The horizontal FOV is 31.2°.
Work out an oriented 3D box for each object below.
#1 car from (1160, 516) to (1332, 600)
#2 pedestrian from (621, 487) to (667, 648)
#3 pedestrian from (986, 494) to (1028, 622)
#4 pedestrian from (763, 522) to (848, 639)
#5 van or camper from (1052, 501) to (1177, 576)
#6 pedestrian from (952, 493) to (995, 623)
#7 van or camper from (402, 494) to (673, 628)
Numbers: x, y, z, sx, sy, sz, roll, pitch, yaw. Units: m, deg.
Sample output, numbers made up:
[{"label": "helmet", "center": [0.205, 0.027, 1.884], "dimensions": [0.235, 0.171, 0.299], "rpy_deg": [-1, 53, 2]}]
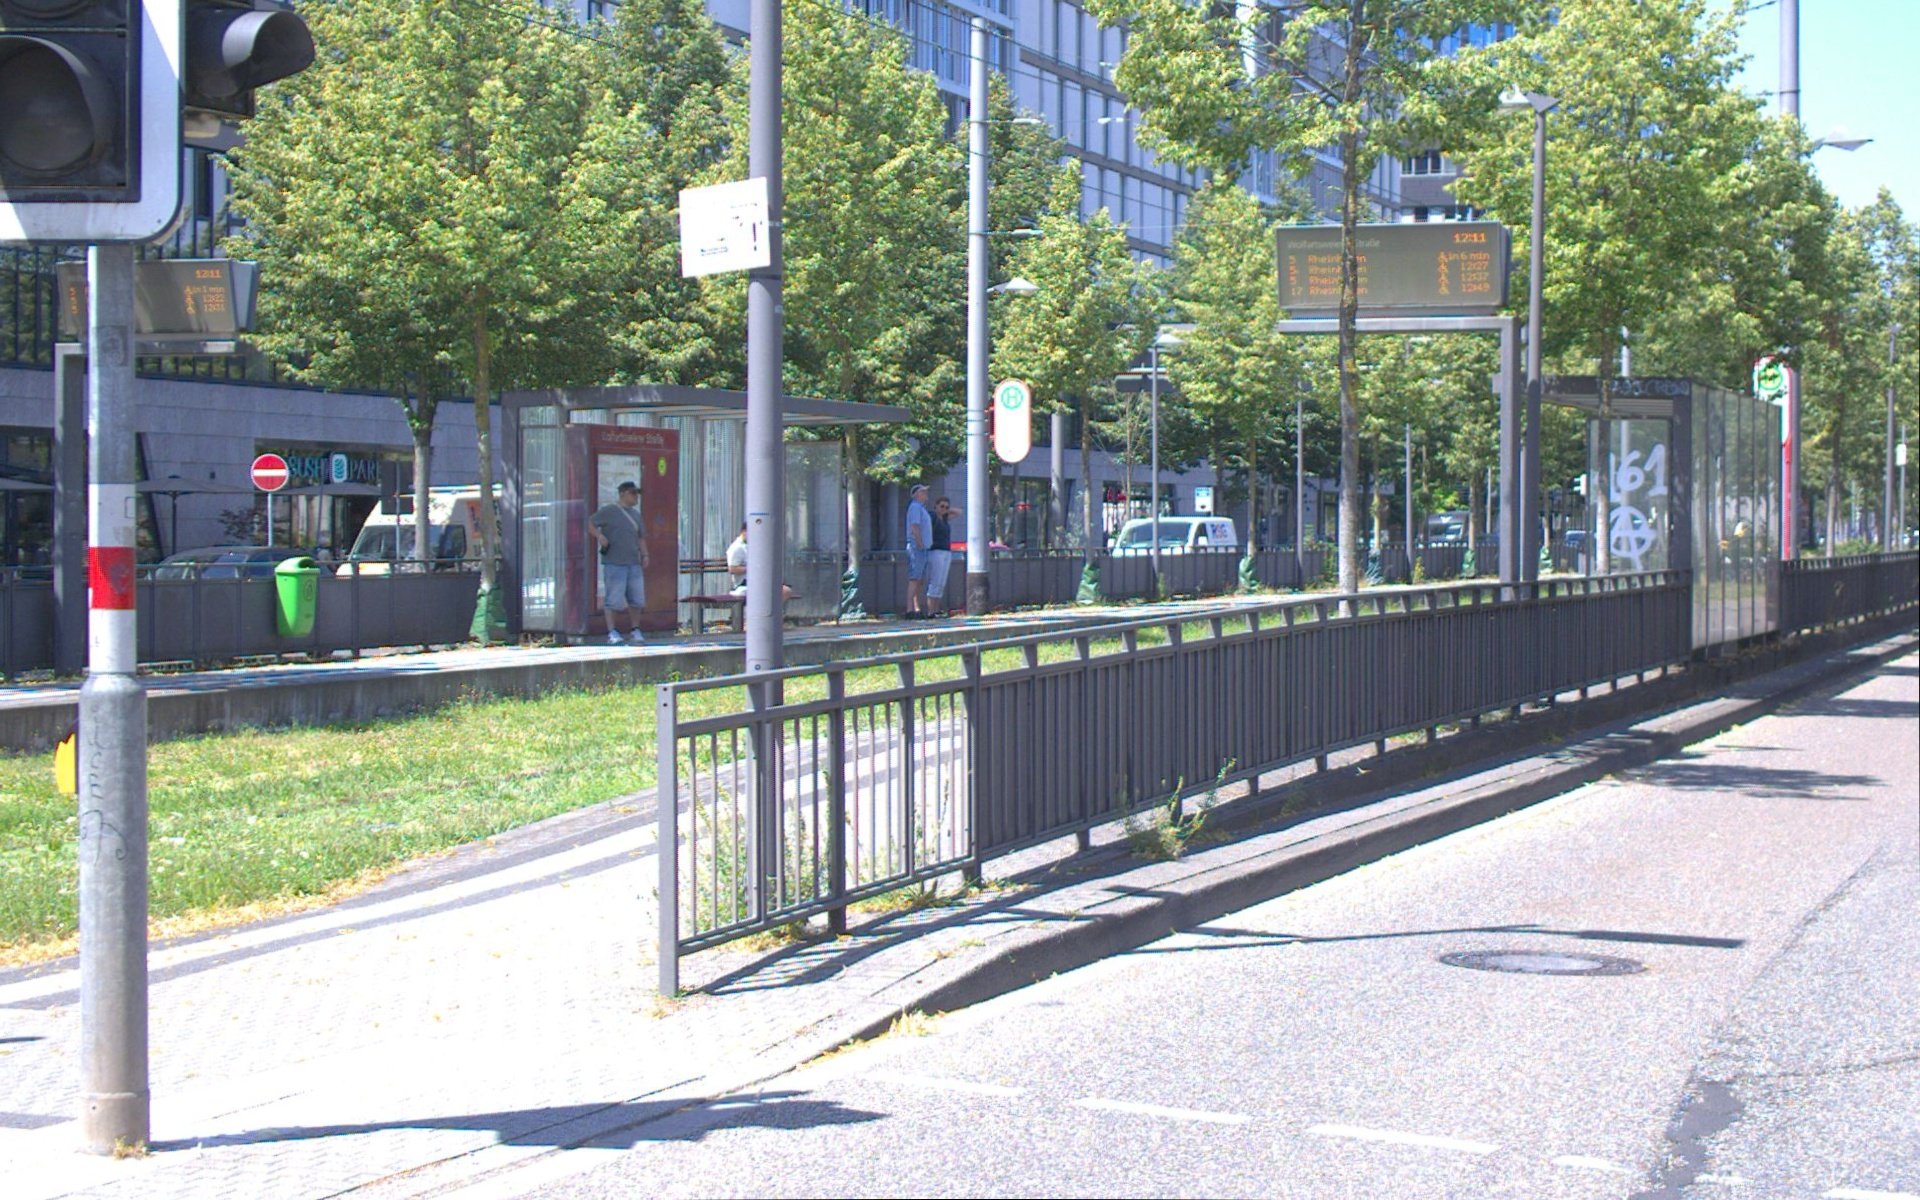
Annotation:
[{"label": "car", "center": [6.418, -0.944, 76.517], "dimensions": [2.465, 1.800, 5.065], "rpy_deg": [1, 1, 21]}, {"label": "pedestrian", "center": [-3.438, -0.356, 37.338], "dimensions": [0.465, 1.733, 0.478], "rpy_deg": [0, 1, -8]}, {"label": "pedestrian", "center": [0.644, -0.576, 46.993], "dimensions": [0.410, 1.746, 0.585], "rpy_deg": [1, 1, 18]}, {"label": "pedestrian", "center": [-1.885, -0.245, 41.935], "dimensions": [0.835, 1.408, 0.641], "rpy_deg": [1, 1, 20]}, {"label": "van or camper", "center": [3.083, -1.217, 67.993], "dimensions": [1.477, 1.422, 3.425], "rpy_deg": [1, 1, 21]}, {"label": "pedestrian", "center": [0.179, -0.572, 46.404], "dimensions": [0.410, 1.746, 0.585], "rpy_deg": [1, 1, 18]}, {"label": "van or camper", "center": [-7.894, -0.764, 65.127], "dimensions": [2.179, 2.378, 6.765], "rpy_deg": [1, 1, 21]}]
